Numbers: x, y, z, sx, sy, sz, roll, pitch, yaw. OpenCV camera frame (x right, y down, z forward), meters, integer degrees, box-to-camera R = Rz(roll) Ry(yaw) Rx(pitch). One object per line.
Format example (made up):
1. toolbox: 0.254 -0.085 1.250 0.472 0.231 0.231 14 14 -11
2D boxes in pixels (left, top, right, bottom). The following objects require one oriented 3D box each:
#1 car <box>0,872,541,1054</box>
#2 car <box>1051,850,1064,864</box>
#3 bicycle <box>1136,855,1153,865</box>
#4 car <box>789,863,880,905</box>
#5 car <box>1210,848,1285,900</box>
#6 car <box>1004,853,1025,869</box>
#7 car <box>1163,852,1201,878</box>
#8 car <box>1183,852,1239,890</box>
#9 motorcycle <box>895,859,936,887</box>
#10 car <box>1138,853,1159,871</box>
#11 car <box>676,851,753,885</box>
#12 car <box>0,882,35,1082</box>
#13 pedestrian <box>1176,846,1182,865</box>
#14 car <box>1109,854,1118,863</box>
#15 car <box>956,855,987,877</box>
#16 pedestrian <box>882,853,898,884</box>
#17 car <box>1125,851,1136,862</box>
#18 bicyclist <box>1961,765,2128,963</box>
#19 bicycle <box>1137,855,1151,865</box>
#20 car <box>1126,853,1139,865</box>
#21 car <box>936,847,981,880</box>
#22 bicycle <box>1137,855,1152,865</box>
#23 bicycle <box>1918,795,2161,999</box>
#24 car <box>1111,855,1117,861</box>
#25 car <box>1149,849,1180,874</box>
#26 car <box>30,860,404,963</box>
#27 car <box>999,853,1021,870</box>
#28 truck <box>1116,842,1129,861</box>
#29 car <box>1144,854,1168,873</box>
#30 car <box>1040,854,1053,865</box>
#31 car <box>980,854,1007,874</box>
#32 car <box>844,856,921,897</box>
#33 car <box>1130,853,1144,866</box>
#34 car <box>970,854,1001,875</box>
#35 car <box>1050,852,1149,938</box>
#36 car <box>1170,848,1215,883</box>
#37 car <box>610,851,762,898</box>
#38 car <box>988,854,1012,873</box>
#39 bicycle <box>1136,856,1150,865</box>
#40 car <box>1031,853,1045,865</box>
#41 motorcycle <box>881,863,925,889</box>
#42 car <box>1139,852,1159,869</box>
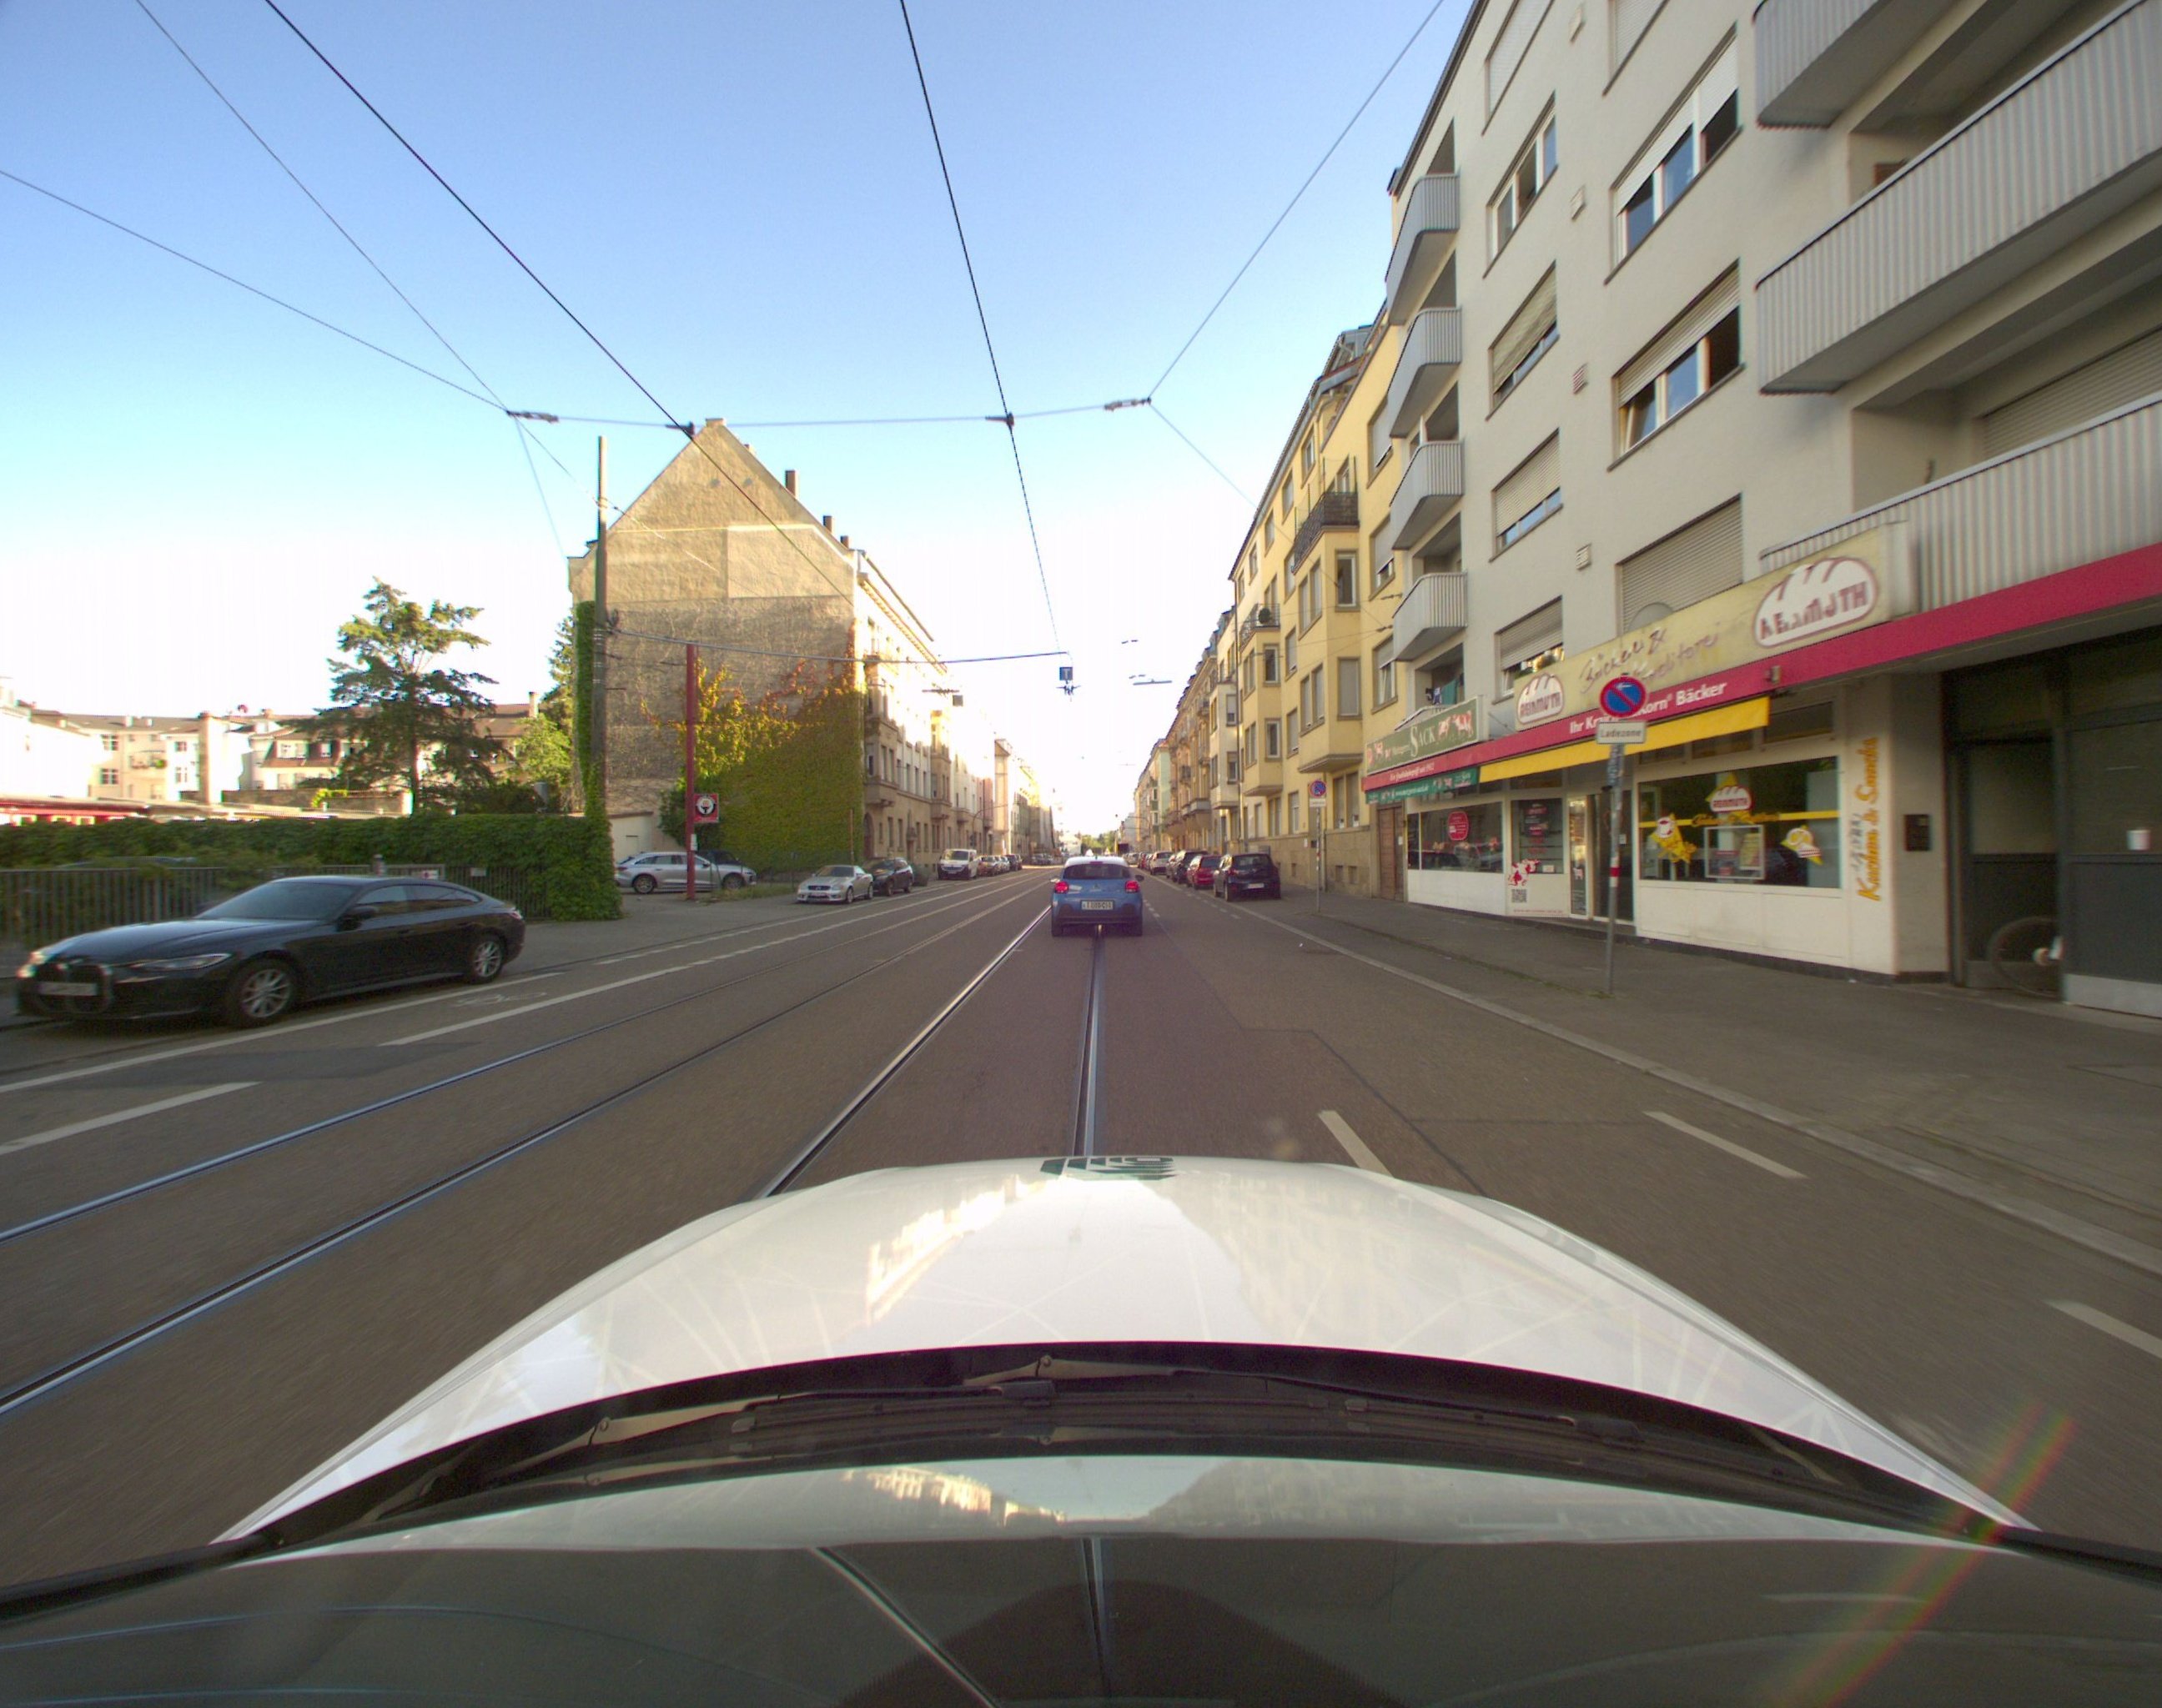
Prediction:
1. car: -8.903 1.006 9.526 1.776 1.446 4.844 1 0 2
2. car: -4.298 0.487 148.452 2.138 2.475 4.979 1 0 0
3. bicycle: 8.225 0.772 105.247 2.078 1.154 0.848 -4 0 2
4. car: -8.563 0.993 28.624 1.776 1.314 4.222 1 0 2
5. car: 5.368 0.609 26.716 1.712 1.491 4.003 -2 0 2
6. car: -6.772 0.673 82.741 1.777 1.606 4.396 1 0 0
7. car: 5.865 0.619 47.651 1.731 1.441 4.033 -1 0 1
8. car: 5.502 0.678 34.992 1.851 1.455 4.713 -1 0 2
9. motorcycle: -8.260 0.941 40.699 0.875 1.351 1.970 -1 0 34
10. car: 6.180 0.716 74.812 1.648 1.513 4.476 -1 0 2
11. car: -17.215 0.625 38.469 1.745 1.525 3.911 -1 0 2
12. car: -9.003 0.953 3.919 1.777 1.481 4.700 1 0 1
13. pedestrian: 8.827 0.163 73.385 0.511 1.687 0.448 -1 0 1
14. car: 6.825 0.973 171.958 1.814 1.894 4.002 0 0 2
15. car: -7.722 0.852 57.711 1.597 1.472 3.647 1 0 2
16. pedestrian: -10.465 0.785 44.681 0.677 1.724 0.616 -1 0 1
17. car: 8.627 0.497 142.198 1.724 1.827 4.688 -1 0 2
18. bicyclist: 8.608 0.089 7.300 0.839 1.702 0.510 -1 0 4
19. bicycle: 8.285 0.831 107.180 1.716 1.154 0.469 -5 0 1
20. car: 7.468 0.705 119.076 1.777 1.576 4.328 -1 0 2
21. car: -7.795 0.581 52.364 1.966 1.949 5.252 1 0 1
22. bicycle: 8.226 0.772 105.943 1.836 1.154 0.469 -5 0 1
23. bicycle: 8.830 0.362 7.225 1.921 1.710 0.776 -1 0 4
24. car: 8.807 1.165 217.214 1.758 1.487 4.033 -1 0 2
25. car: 5.911 0.516 58.150 1.836 1.691 4.507 -1 0 2
26. car: -14.558 0.928 13.921 4.343 1.597 2.002 -1 0 3
27. car: -6.806 0.732 78.590 1.776 1.553 3.020 1 0 2
28. truck: 9.404 -0.564 184.140 2.841 4.083 11.279 -1 0 3
29. car: 6.388 0.801 69.881 1.649 1.483 4.474 -1 0 1
30. car: -5.298 0.841 125.113 1.777 1.627 4.608 1 0 0
31. car: -7.216 0.799 67.578 1.766 1.547 4.365 1 0 0
32. car: -8.189 0.876 34.038 1.775 1.565 4.615 1 0 4
33. car: 7.725 0.748 113.165 1.777 1.632 4.002 -1 0 2
34. car: -7.259 0.804 62.338 1.777 1.523 4.360 1 0 1
35. car: 0.398 0.724 16.388 1.728 1.507 3.994 1 0 2
36. car: 5.581 0.549 41.292 1.851 1.665 4.565 -1 0 3
37. car: -14.313 0.698 29.591 4.813 1.518 1.980 -1 0 -32
38. car: -7.217 0.816 72.900 1.777 1.622 4.178 1 0 0
39. bicycle: 8.348 0.880 109.800 1.716 1.154 0.469 -5 0 1
40. car: -5.958 0.665 113.487 1.777 1.690 4.667 1 0 0
41. motorcycle: -8.468 1.026 38.843 0.732 1.171 2.194 -1 0 32
42. car: 6.592 0.659 79.391 1.746 1.594 3.732 -1 0 3
